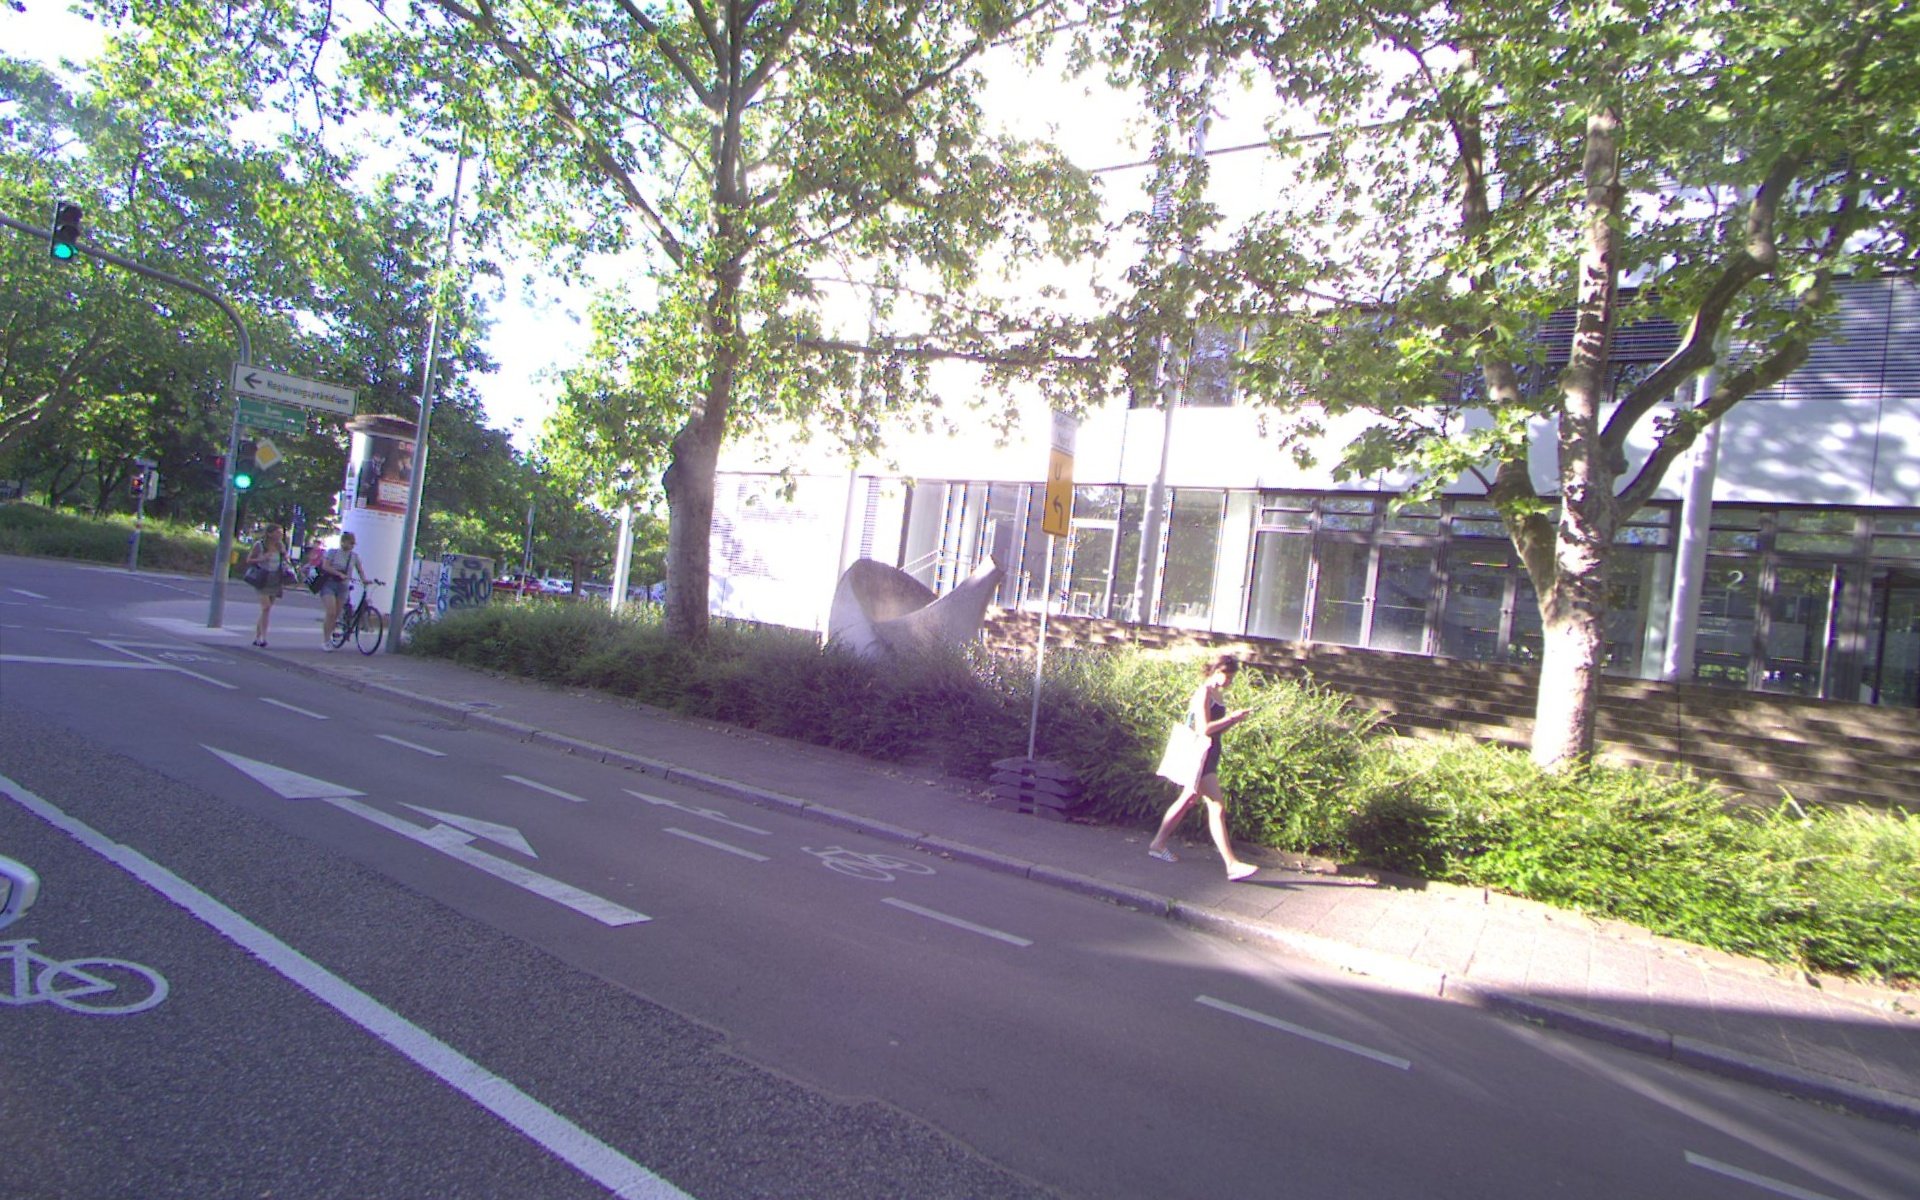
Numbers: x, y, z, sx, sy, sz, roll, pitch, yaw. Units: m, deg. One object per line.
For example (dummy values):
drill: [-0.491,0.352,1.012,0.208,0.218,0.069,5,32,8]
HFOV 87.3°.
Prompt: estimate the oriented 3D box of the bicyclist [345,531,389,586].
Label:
bicyclist: [-18.817,-1.322,31.962,0.942,1.565,1.118,8,1,-26]

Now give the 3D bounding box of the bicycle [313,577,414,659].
bicycle: [-8.980,0.266,15.128,1.620,1.046,0.522,6,-2,32]

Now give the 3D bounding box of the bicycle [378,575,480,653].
bicycle: [-8.976,0.263,17.107,0.462,1.196,1.995,6,-2,3]

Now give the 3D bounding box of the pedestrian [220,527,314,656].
pedestrian: [-9.827,-0.115,14.269,0.681,1.740,0.774,5,-1,31]

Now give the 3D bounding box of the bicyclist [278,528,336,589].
bicyclist: [-21.826,-1.373,33.627,0.961,1.829,1.130,6,-2,30]

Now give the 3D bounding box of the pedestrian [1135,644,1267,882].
pedestrian: [1.792,1.177,7.467,0.671,1.612,0.462,6,-1,32]

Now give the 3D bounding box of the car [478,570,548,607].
car: [-27.746,-0.709,62.397,3.935,1.800,1.997,6,-2,32]

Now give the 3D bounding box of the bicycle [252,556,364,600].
bicycle: [-21.837,-0.722,33.772,0.926,1.050,3.004,6,-3,29]

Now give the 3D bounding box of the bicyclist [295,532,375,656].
bicyclist: [-9.175,-0.078,14.777,0.644,1.734,0.633,4,-1,31]
